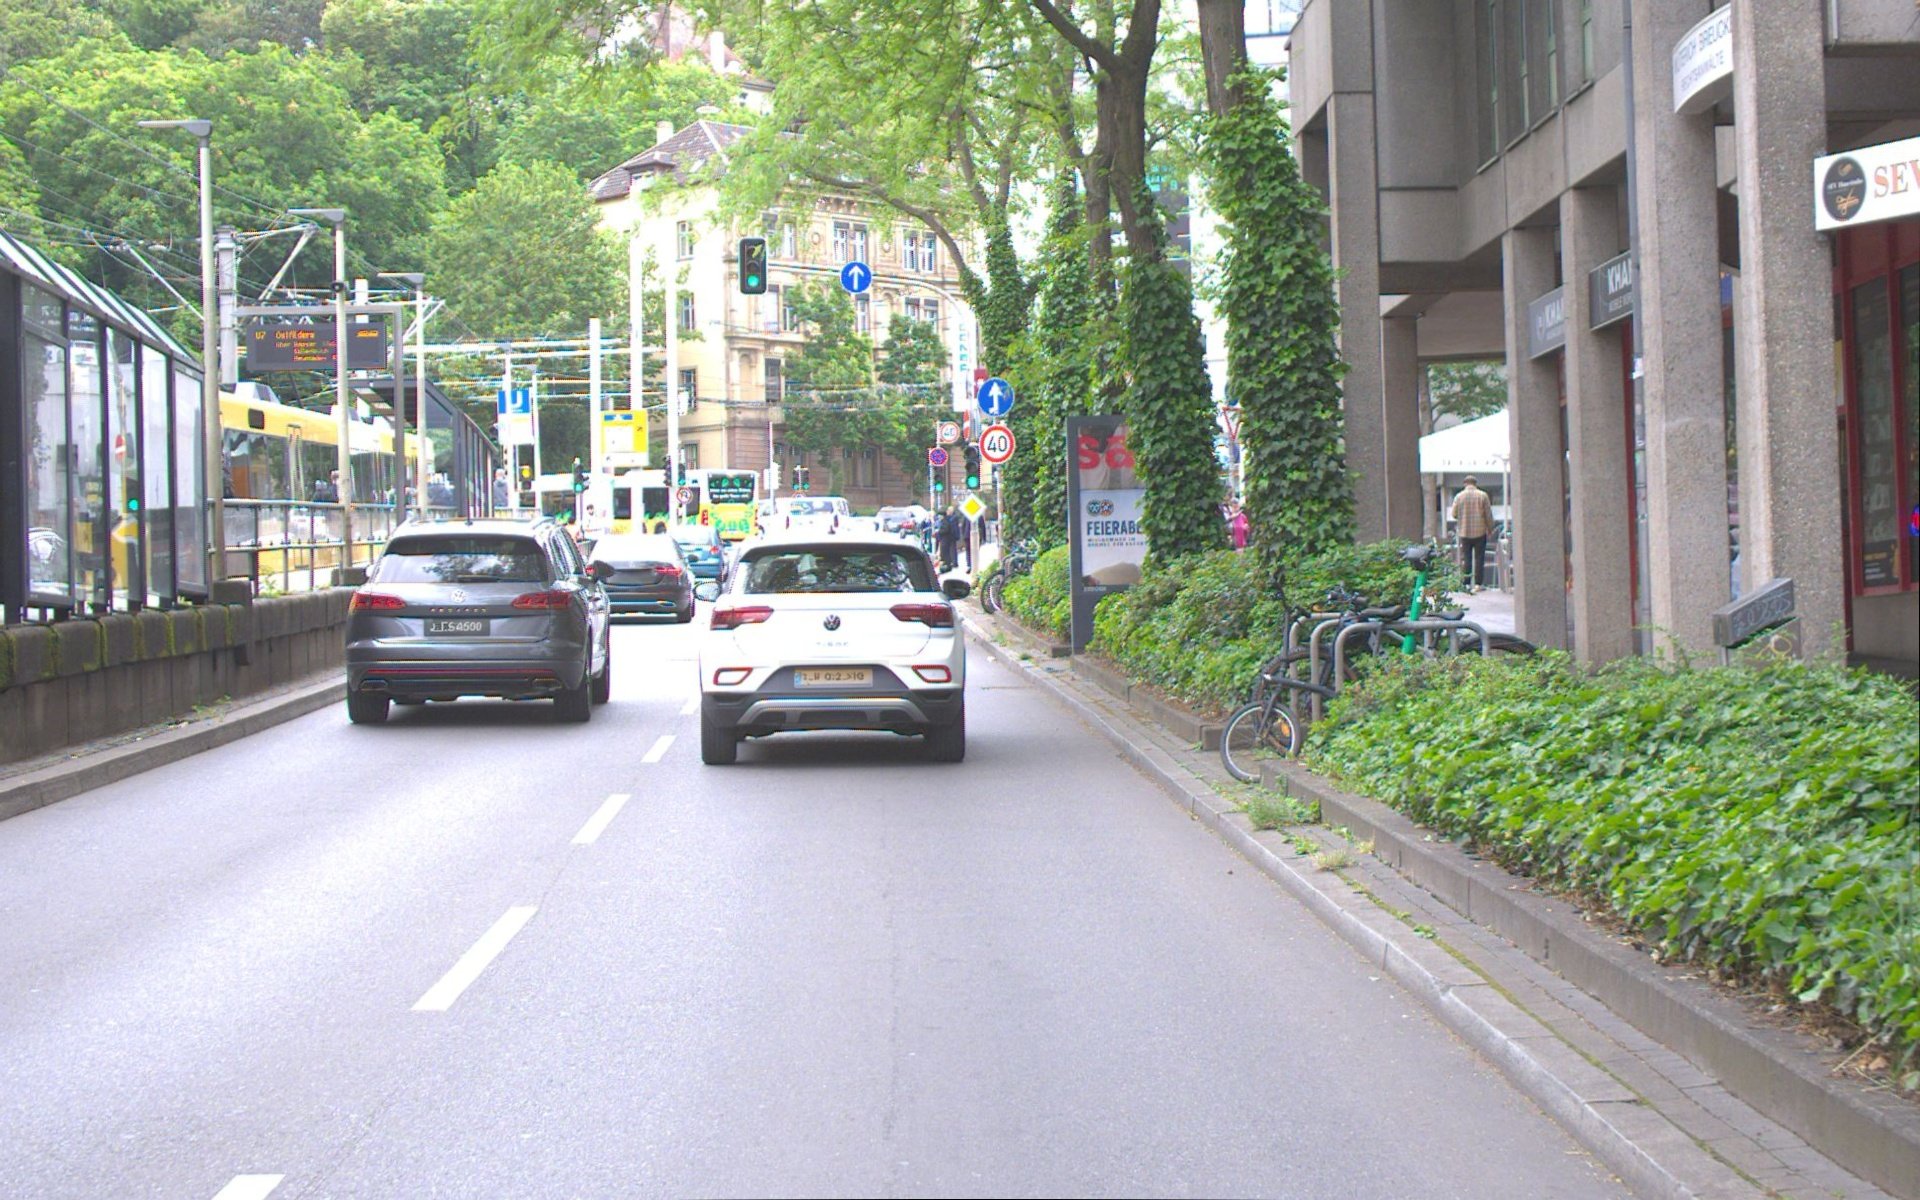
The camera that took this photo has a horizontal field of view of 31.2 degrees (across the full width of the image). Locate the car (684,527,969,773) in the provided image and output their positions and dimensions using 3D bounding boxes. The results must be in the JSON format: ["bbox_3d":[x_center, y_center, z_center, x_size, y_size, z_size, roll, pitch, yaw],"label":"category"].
[{"bbox_3d":[-0.917,0.280,24.243,1.837,1.578,4.157,0,1,-2],"label":"car"}]

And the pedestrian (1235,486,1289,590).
[{"bbox_3d":[4.725,-0.964,53.772,0.635,1.603,0.588,0,-1,-22],"label":"pedestrian"}]

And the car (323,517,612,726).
[{"bbox_3d":[-4.076,0.129,29.041,1.993,1.630,4.001,0,1,-2],"label":"car"}]

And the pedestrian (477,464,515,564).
[{"bbox_3d":[-9.486,-1.748,70.284,0.762,2.007,0.838,0,-1,-8],"label":"pedestrian"}]

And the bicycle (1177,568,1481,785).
[{"bbox_3d":[2.071,0.422,19.449,1.620,1.124,0.613,-3,1,3],"label":"bicycle"}]

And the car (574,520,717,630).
[{"bbox_3d":[-5.061,-0.437,55.843,1.912,1.683,4.000,1,1,1],"label":"car"}]

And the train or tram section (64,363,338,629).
[{"bbox_3d":[-11.069,-1.467,50.749,2.813,3.654,6.752,0,1,-2],"label":"train or tram section"}]

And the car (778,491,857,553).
[{"bbox_3d":[-4.918,-2.676,119.528,2.365,2.007,5.147,0,0,2],"label":"car"}]

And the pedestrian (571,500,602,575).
[{"bbox_3d":[-10.044,-1.680,92.530,0.762,2.007,0.838,0,-1,-1],"label":"pedestrian"}]

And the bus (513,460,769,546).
[{"bbox_3d":[-12.995,-3.834,138.441,3.373,3.054,13.319,1,-1,-40],"label":"bus"}]

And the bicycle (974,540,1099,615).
[{"bbox_3d":[1.184,-0.341,52.904,1.881,1.133,0.808,0,0,5],"label":"bicycle"}]

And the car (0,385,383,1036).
[{"bbox_3d":[-3.849,0.353,13.188,2.364,2.007,5.148,0,0,0],"label":"car"}]

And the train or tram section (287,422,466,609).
[{"bbox_3d":[-11.966,-1.698,71.044,2.813,3.654,6.752,0,1,-2],"label":"train or tram section"}]

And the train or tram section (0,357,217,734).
[{"bbox_3d":[-10.012,-0.568,36.660,2.813,3.654,6.752,0,1,-1],"label":"train or tram section"}]

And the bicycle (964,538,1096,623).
[{"bbox_3d":[1.052,-0.293,51.409,1.881,1.262,0.764,0,-1,10],"label":"bicycle"}]

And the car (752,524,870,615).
[{"bbox_3d":[-2.904,-0.558,66.294,1.884,1.678,4.162,0,0,-8],"label":"car"}]

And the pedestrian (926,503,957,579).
[{"bbox_3d":[-0.489,-1.568,91.841,0.762,2.007,0.838,0,-1,4],"label":"pedestrian"}]

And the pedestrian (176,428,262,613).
[{"bbox_3d":[-7.190,-0.776,33.402,0.627,1.756,0.847,-1,1,-2],"label":"pedestrian"}]

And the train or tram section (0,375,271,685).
[{"bbox_3d":[-10.763,-0.858,43.991,2.813,3.654,6.752,0,1,-2],"label":"train or tram section"}]

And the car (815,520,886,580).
[{"bbox_3d":[-3.222,-1.451,101.732,1.885,1.678,4.161,0,0,1],"label":"car"}]

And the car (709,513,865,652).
[{"bbox_3d":[-2.170,-0.201,43.931,1.884,1.678,4.161,0,0,-2],"label":"car"}]

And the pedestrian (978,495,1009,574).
[{"bbox_3d":[0.862,-1.678,88.086,0.762,2.007,0.838,0,-1,4],"label":"pedestrian"}]

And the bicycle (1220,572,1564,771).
[{"bbox_3d":[2.585,0.419,20.678,1.915,1.073,0.613,-3,1,-4],"label":"bicycle"}]

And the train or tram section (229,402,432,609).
[{"bbox_3d":[-11.667,-1.713,64.275,2.813,3.654,6.752,0,1,-2],"label":"train or tram section"}]

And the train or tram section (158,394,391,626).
[{"bbox_3d":[-11.359,-1.452,57.522,2.813,3.654,6.752,0,1,-2],"label":"train or tram section"}]

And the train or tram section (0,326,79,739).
[{"bbox_3d":[-9.892,-0.599,30.329,2.813,3.654,5.903,0,1,-1],"label":"train or tram section"}]
